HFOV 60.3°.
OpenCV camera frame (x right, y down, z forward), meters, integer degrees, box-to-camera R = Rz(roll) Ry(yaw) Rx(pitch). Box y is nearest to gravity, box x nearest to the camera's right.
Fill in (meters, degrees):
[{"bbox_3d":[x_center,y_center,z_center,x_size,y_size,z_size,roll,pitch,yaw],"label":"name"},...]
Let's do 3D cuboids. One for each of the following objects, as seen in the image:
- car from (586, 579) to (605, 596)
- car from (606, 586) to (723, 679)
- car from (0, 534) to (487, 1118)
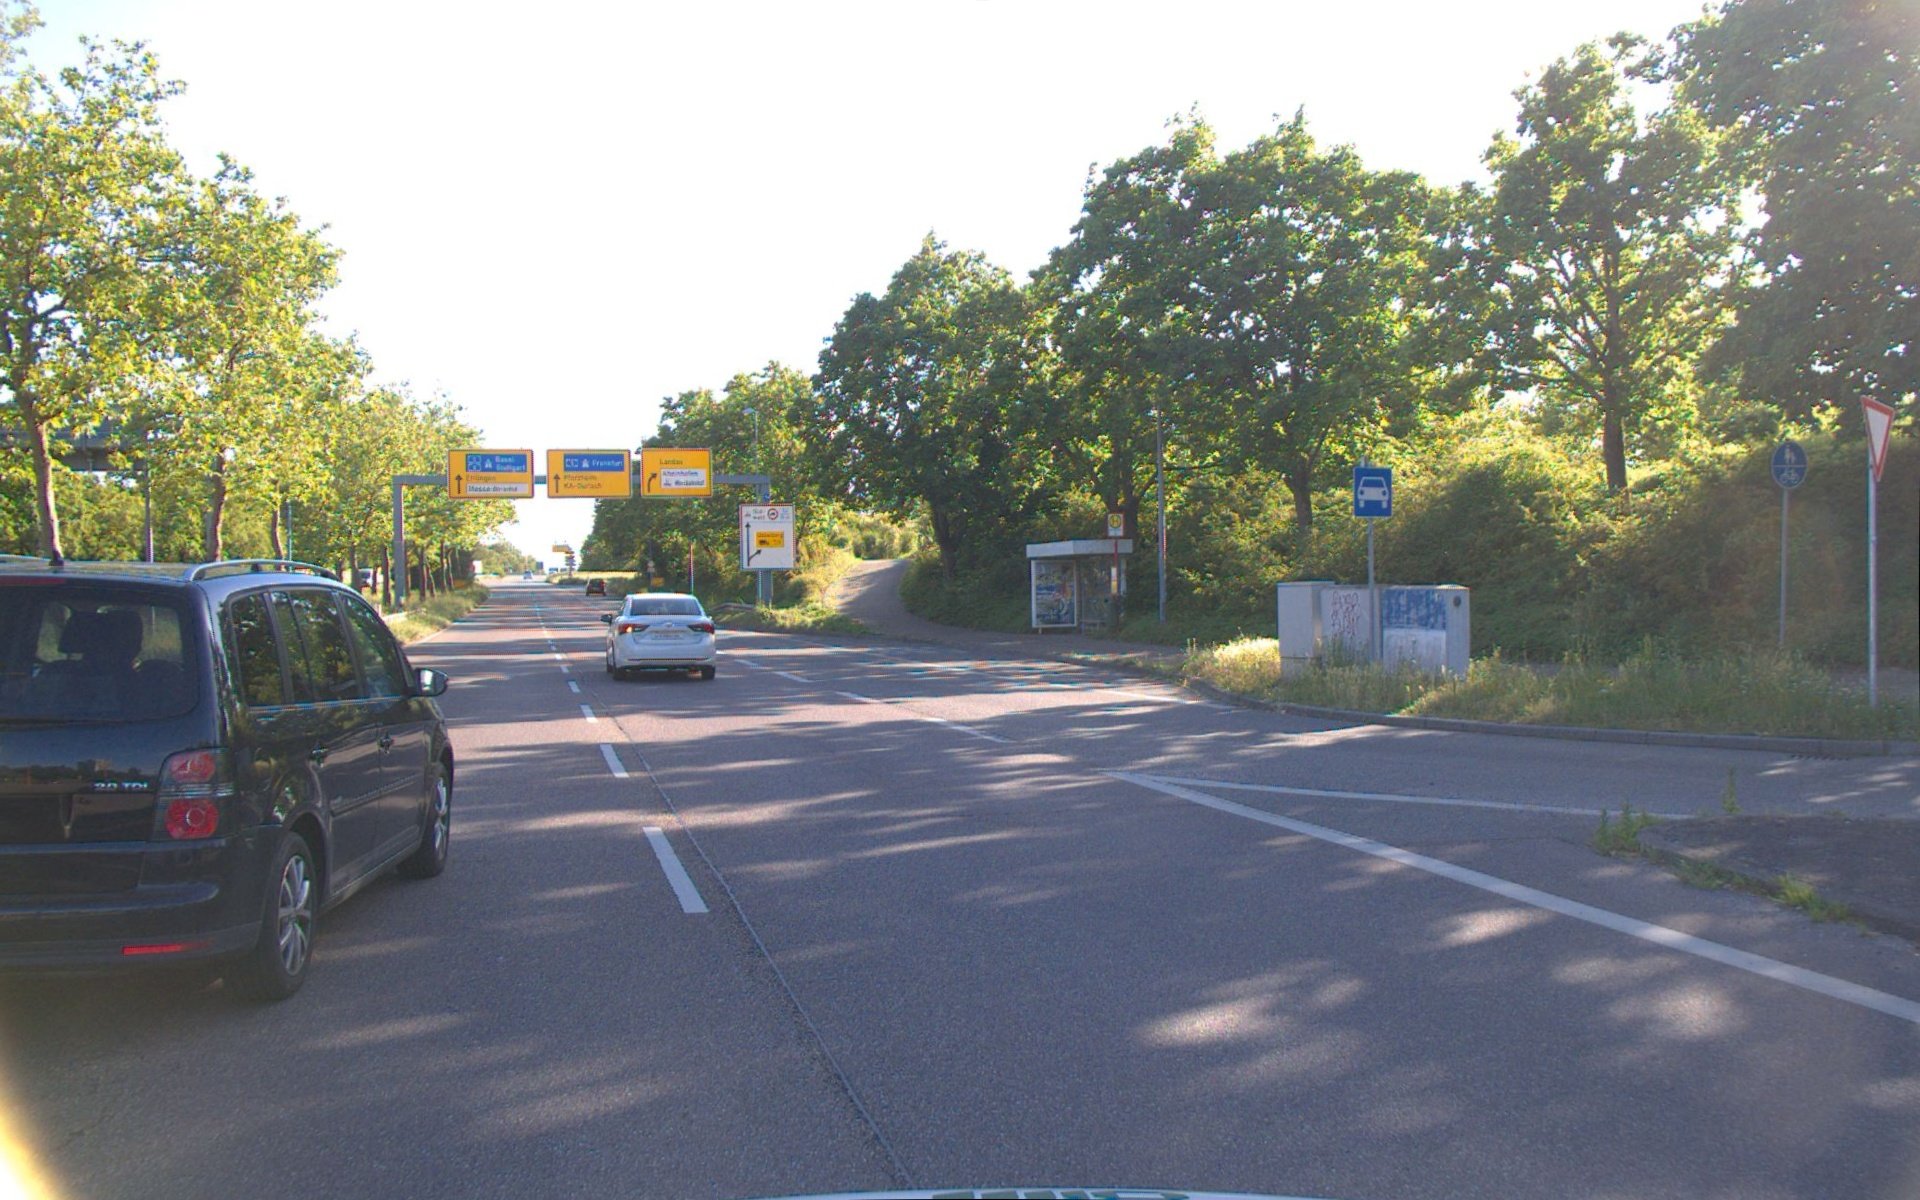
[{"bbox_3d":[-34.150,-1.198,154.926,1.737,1.489,4.351,-1,1,-13],"label":"car"},{"bbox_3d":[-5.374,0.518,29.723,1.738,1.489,4.350,-1,1,-14],"label":"car"},{"bbox_3d":[-3.399,0.622,7.151,1.733,1.672,4.917,-1,1,-6],"label":"car"}]
